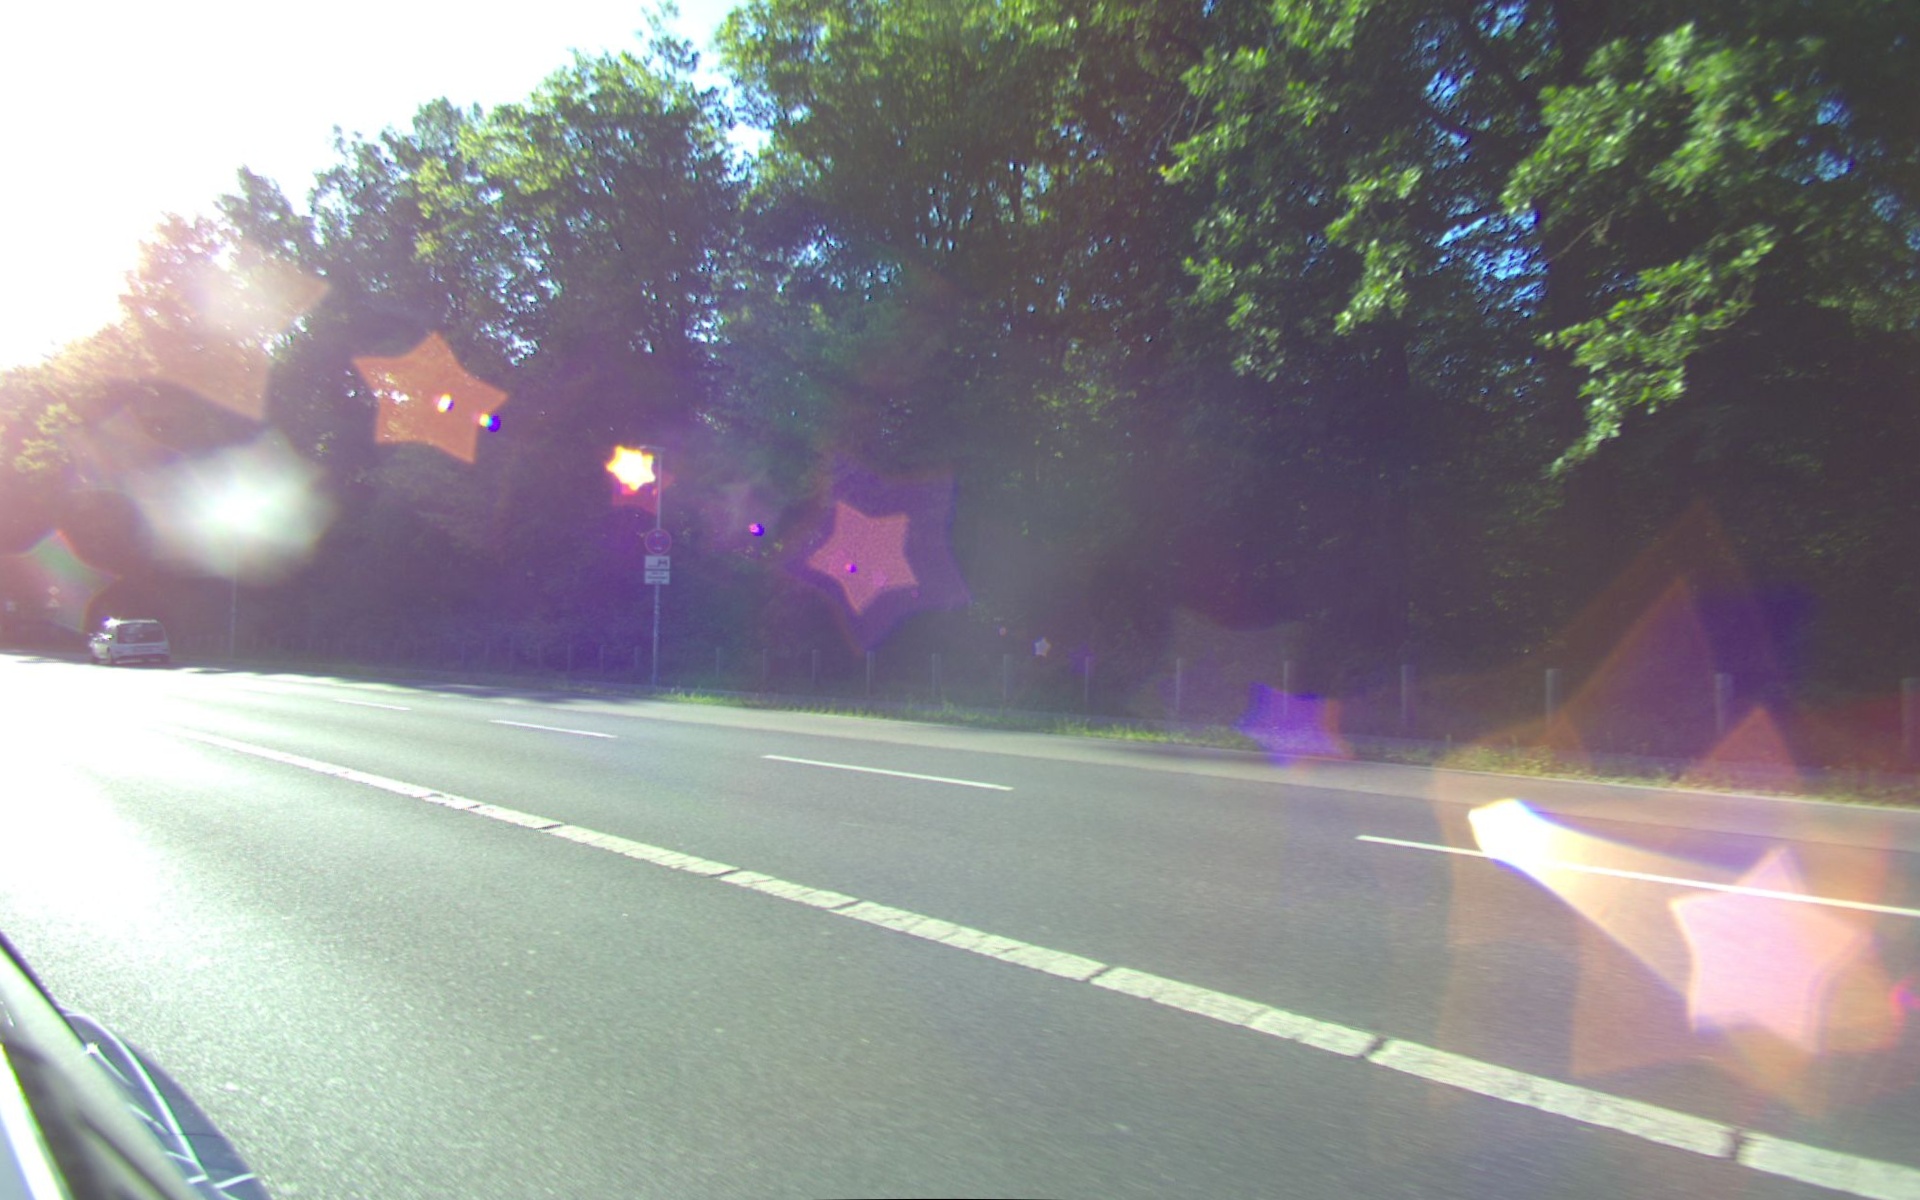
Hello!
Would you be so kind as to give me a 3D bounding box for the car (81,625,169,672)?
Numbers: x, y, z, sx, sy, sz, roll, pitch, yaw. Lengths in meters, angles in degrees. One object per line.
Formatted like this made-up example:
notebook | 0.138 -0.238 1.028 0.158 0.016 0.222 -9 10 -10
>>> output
car | -28.598 1.629 34.615 4.305 1.448 1.571 -2 0 40
